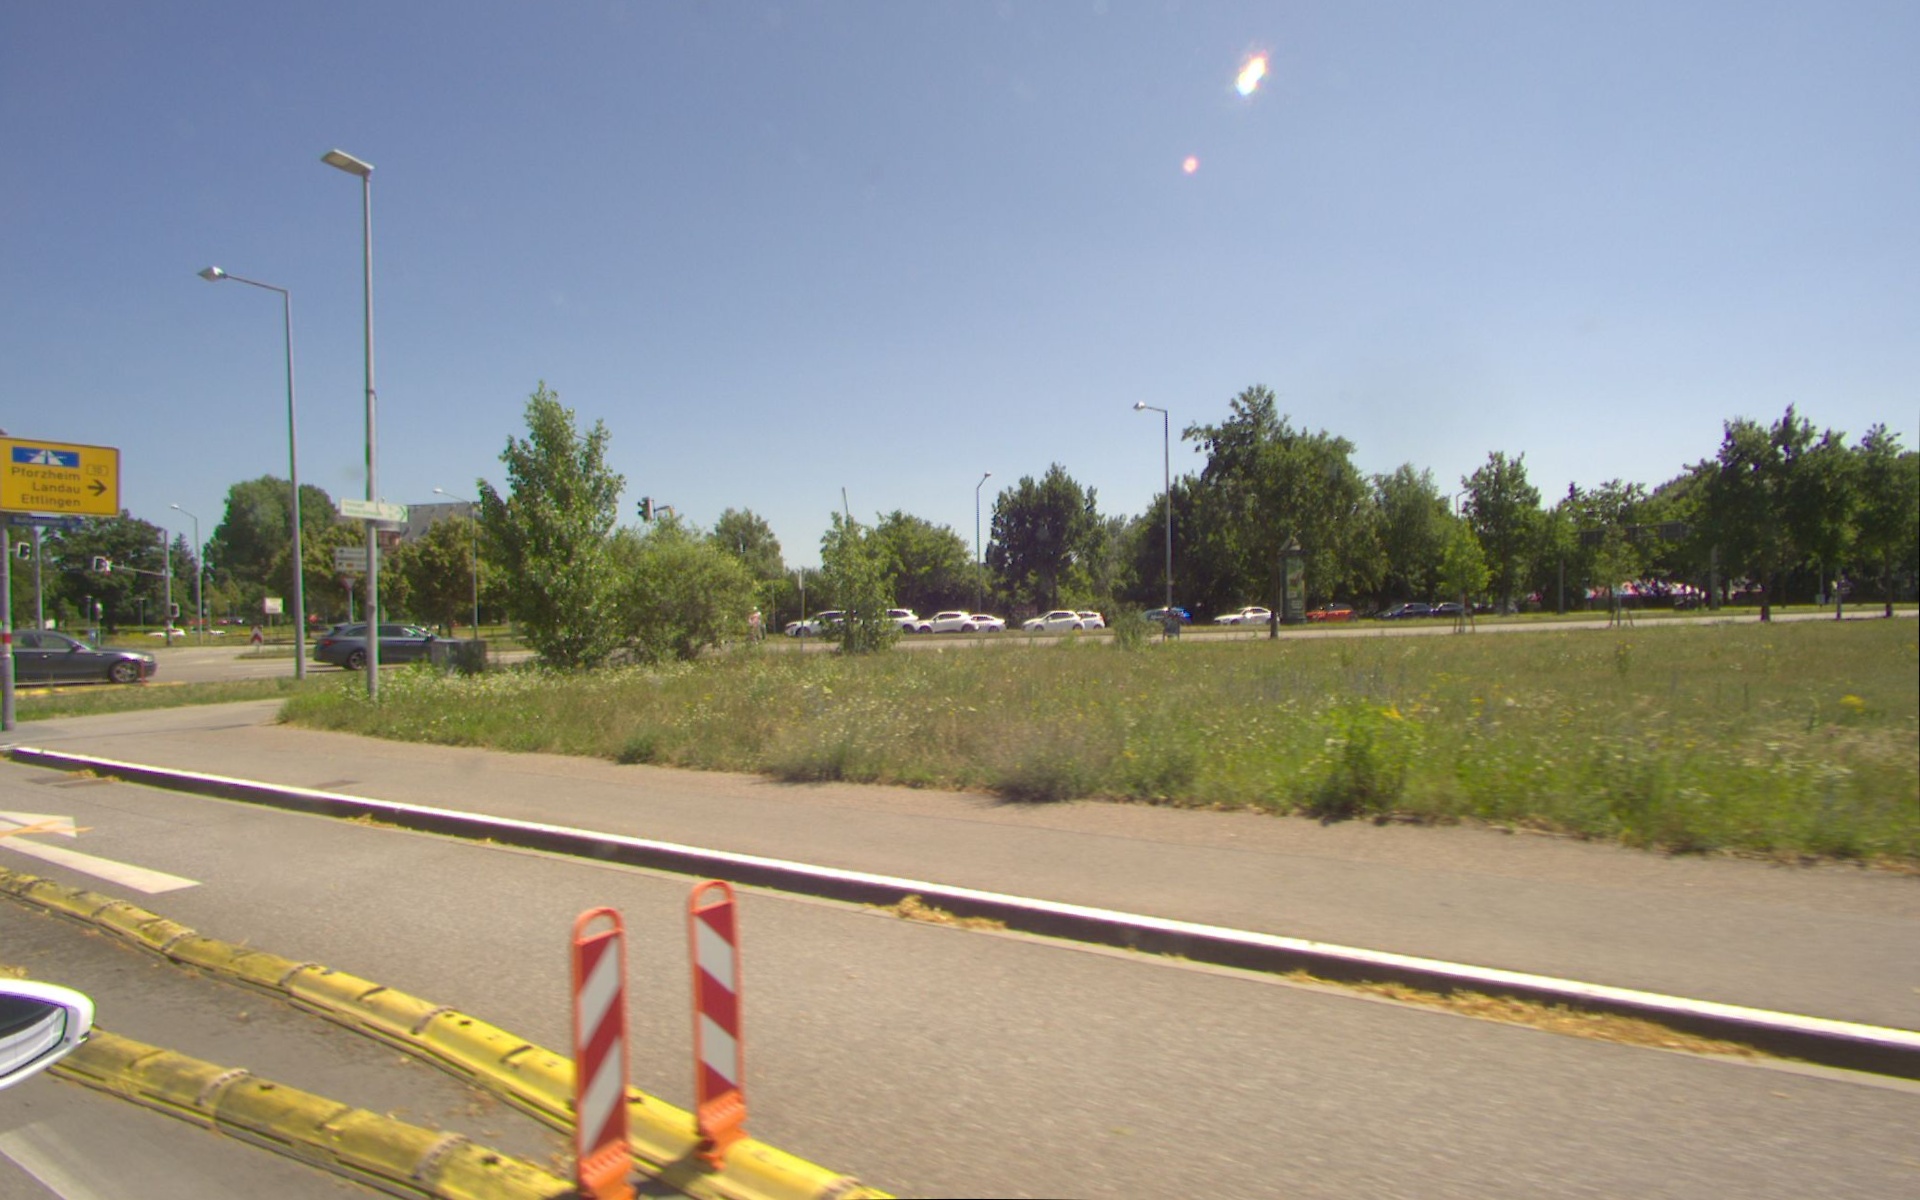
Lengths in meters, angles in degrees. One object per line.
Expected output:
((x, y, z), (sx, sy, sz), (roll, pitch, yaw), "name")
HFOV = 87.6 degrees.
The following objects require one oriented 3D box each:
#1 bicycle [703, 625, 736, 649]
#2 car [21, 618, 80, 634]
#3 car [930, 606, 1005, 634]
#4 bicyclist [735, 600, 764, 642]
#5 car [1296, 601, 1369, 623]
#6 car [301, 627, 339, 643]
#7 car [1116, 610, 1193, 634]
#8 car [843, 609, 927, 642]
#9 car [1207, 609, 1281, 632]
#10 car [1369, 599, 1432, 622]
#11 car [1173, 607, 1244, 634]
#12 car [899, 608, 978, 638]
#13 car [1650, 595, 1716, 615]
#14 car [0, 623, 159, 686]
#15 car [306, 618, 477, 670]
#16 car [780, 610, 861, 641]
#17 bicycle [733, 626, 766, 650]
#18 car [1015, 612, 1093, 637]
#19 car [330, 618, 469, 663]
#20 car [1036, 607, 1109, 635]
((-10.120, 1.568, 42.260), (0.881, 0.912, 1.762), (1, 1, 4), "bicycle")
((-92.231, 2.664, 101.574), (3.934, 1.594, 1.995), (0, -2, -22), "car")
((0.473, 1.238, 62.715), (4.329, 1.705, 1.862), (-1, 0, -16), "car")
((-8.306, 0.833, 39.582), (0.941, 1.630, 1.186), (-1, -1, -2), "bicyclist")
((24.907, 0.795, 66.948), (4.329, 1.441, 1.862), (0, 0, -16), "car")
((-84.782, 4.610, 132.674), (3.931, 2.039, 1.996), (0, -2, -19), "car")
((12.156, 1.367, 62.688), (4.329, 1.441, 1.862), (0, 0, -16), "car")
((-4.151, 1.389, 55.278), (4.329, 1.705, 1.862), (-1, 0, -16), "car")
((18.415, 1.316, 65.021), (4.329, 1.441, 1.862), (0, 0, -16), "car")
((30.049, 0.748, 68.370), (3.730, 1.493, 1.718), (0, -2, -17), "car")
((16.791, 1.381, 67.790), (4.329, 1.705, 1.862), (-1, 0, -16), "car")
((-1.291, 1.339, 59.200), (4.329, 1.705, 1.862), (-1, 0, -16), "car")
((55.586, 0.399, 76.978), (4.329, 1.441, 1.862), (0, 0, -16), "car")
((-23.096, 1.356, 25.486), (1.734, 1.422, 4.044), (0, 0, 43), "car")
((-17.821, 1.324, 31.506), (4.405, 1.437, 1.983), (-1, 0, -40), "car")
((-7.941, 1.426, 56.890), (4.329, 1.639, 1.862), (-1, 0, -16), "car")
((-8.306, 1.485, 39.558), (0.881, 0.912, 2.227), (1, -1, -2), "bicycle")
((5.718, 1.462, 61.097), (4.329, 1.441, 1.862), (0, 0, -16), "car")
((-19.649, 1.386, 35.186), (3.959, 1.441, 1.765), (-1, 0, -43), "car")
((7.253, 1.360, 64.837), (4.329, 1.705, 1.862), (-1, 0, -16), "car")
